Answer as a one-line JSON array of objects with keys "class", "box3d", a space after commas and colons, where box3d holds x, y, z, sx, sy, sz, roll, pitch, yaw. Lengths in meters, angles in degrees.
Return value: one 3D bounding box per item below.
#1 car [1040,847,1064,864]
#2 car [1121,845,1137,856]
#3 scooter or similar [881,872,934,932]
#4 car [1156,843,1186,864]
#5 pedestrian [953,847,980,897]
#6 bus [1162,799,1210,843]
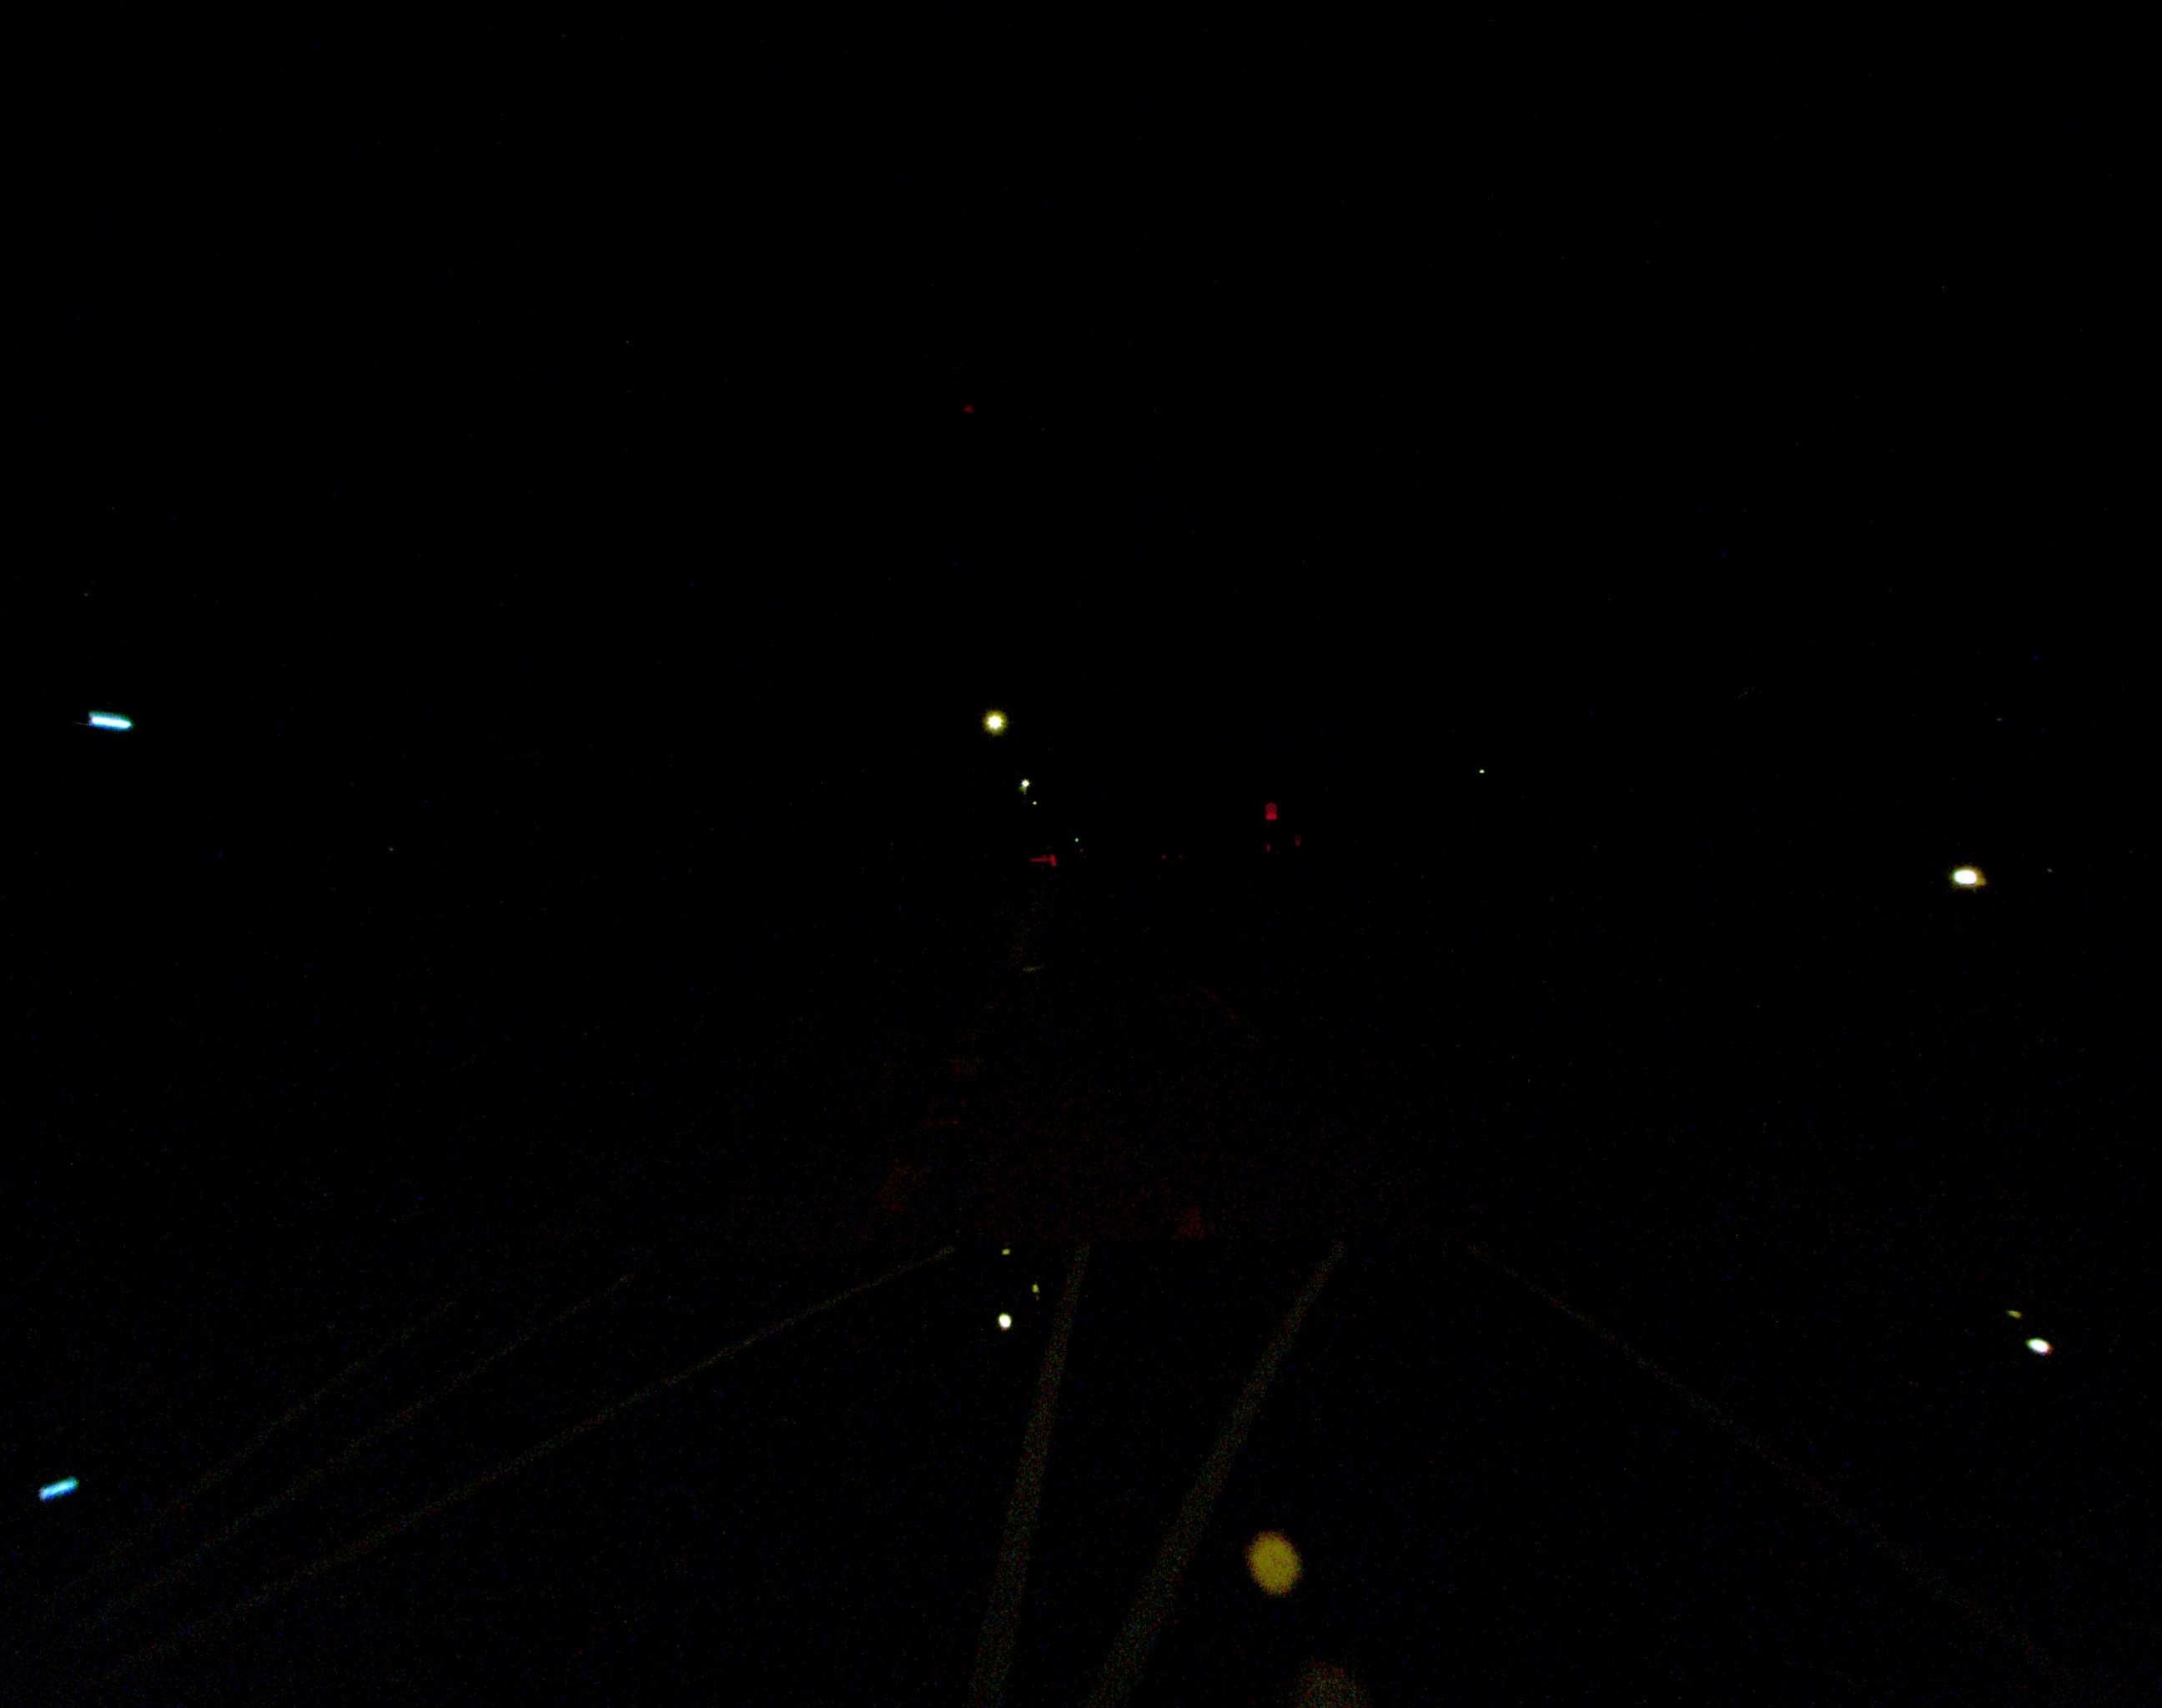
[{"class": "car", "box3d": [-2.935, 0.101, 78.172, 1.998, 1.638, 4.000, 0, 2, 4]}, {"class": "car", "box3d": [6.339, -0.477, 100.508, 1.863, 1.484, 4.080, -2, 1, 1]}, {"class": "scooter or similar", "box3d": [-3.652, 1.005, 16.074, 0.468, 1.195, 1.137, -2, -1, 24]}, {"class": "car", "box3d": [7.156, -0.060, 60.820, 1.806, 1.583, 3.999, -2, 1, -2]}, {"class": "pedestrian", "box3d": [-4.387, 0.659, 29.164, 0.819, 1.854, 1.034, -2, 1, 1]}, {"class": "bus", "box3d": [17.554, -5.405, 129.077, 6.135, 6.898, 14.781, -2, 1, 1]}]
